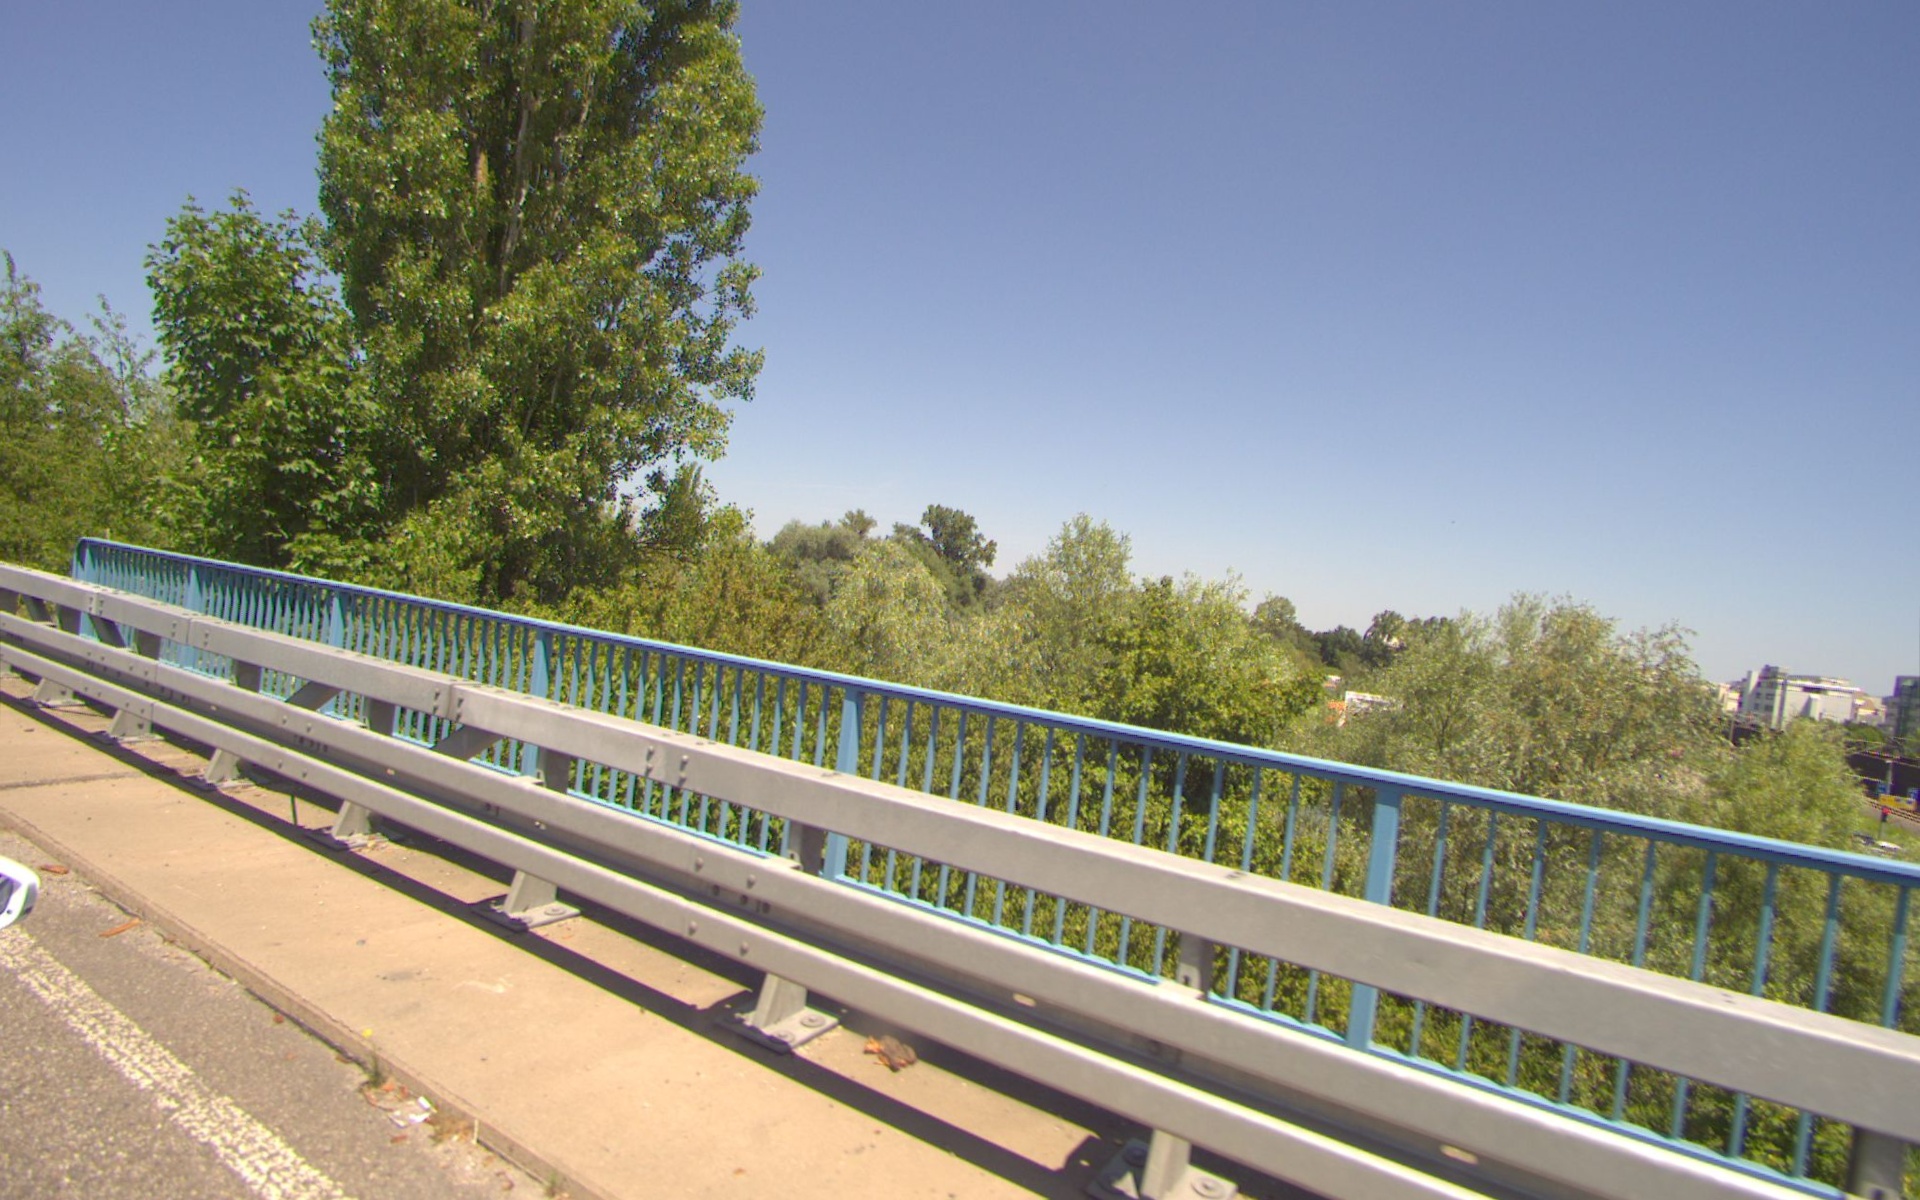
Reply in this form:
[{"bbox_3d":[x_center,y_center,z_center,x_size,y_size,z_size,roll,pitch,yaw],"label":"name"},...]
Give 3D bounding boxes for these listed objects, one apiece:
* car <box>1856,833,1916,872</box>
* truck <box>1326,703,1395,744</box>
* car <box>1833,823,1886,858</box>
[{"bbox_3d":[65.610,17.855,71.327,1.966,1.638,4.237,9,1,29],"label":"car"},{"bbox_3d":[44.090,13.566,111.011,6.697,3.398,2.000,6,0,20],"label":"truck"},{"bbox_3d":[69.048,18.413,77.274,1.966,1.638,4.237,9,1,29],"label":"car"}]
